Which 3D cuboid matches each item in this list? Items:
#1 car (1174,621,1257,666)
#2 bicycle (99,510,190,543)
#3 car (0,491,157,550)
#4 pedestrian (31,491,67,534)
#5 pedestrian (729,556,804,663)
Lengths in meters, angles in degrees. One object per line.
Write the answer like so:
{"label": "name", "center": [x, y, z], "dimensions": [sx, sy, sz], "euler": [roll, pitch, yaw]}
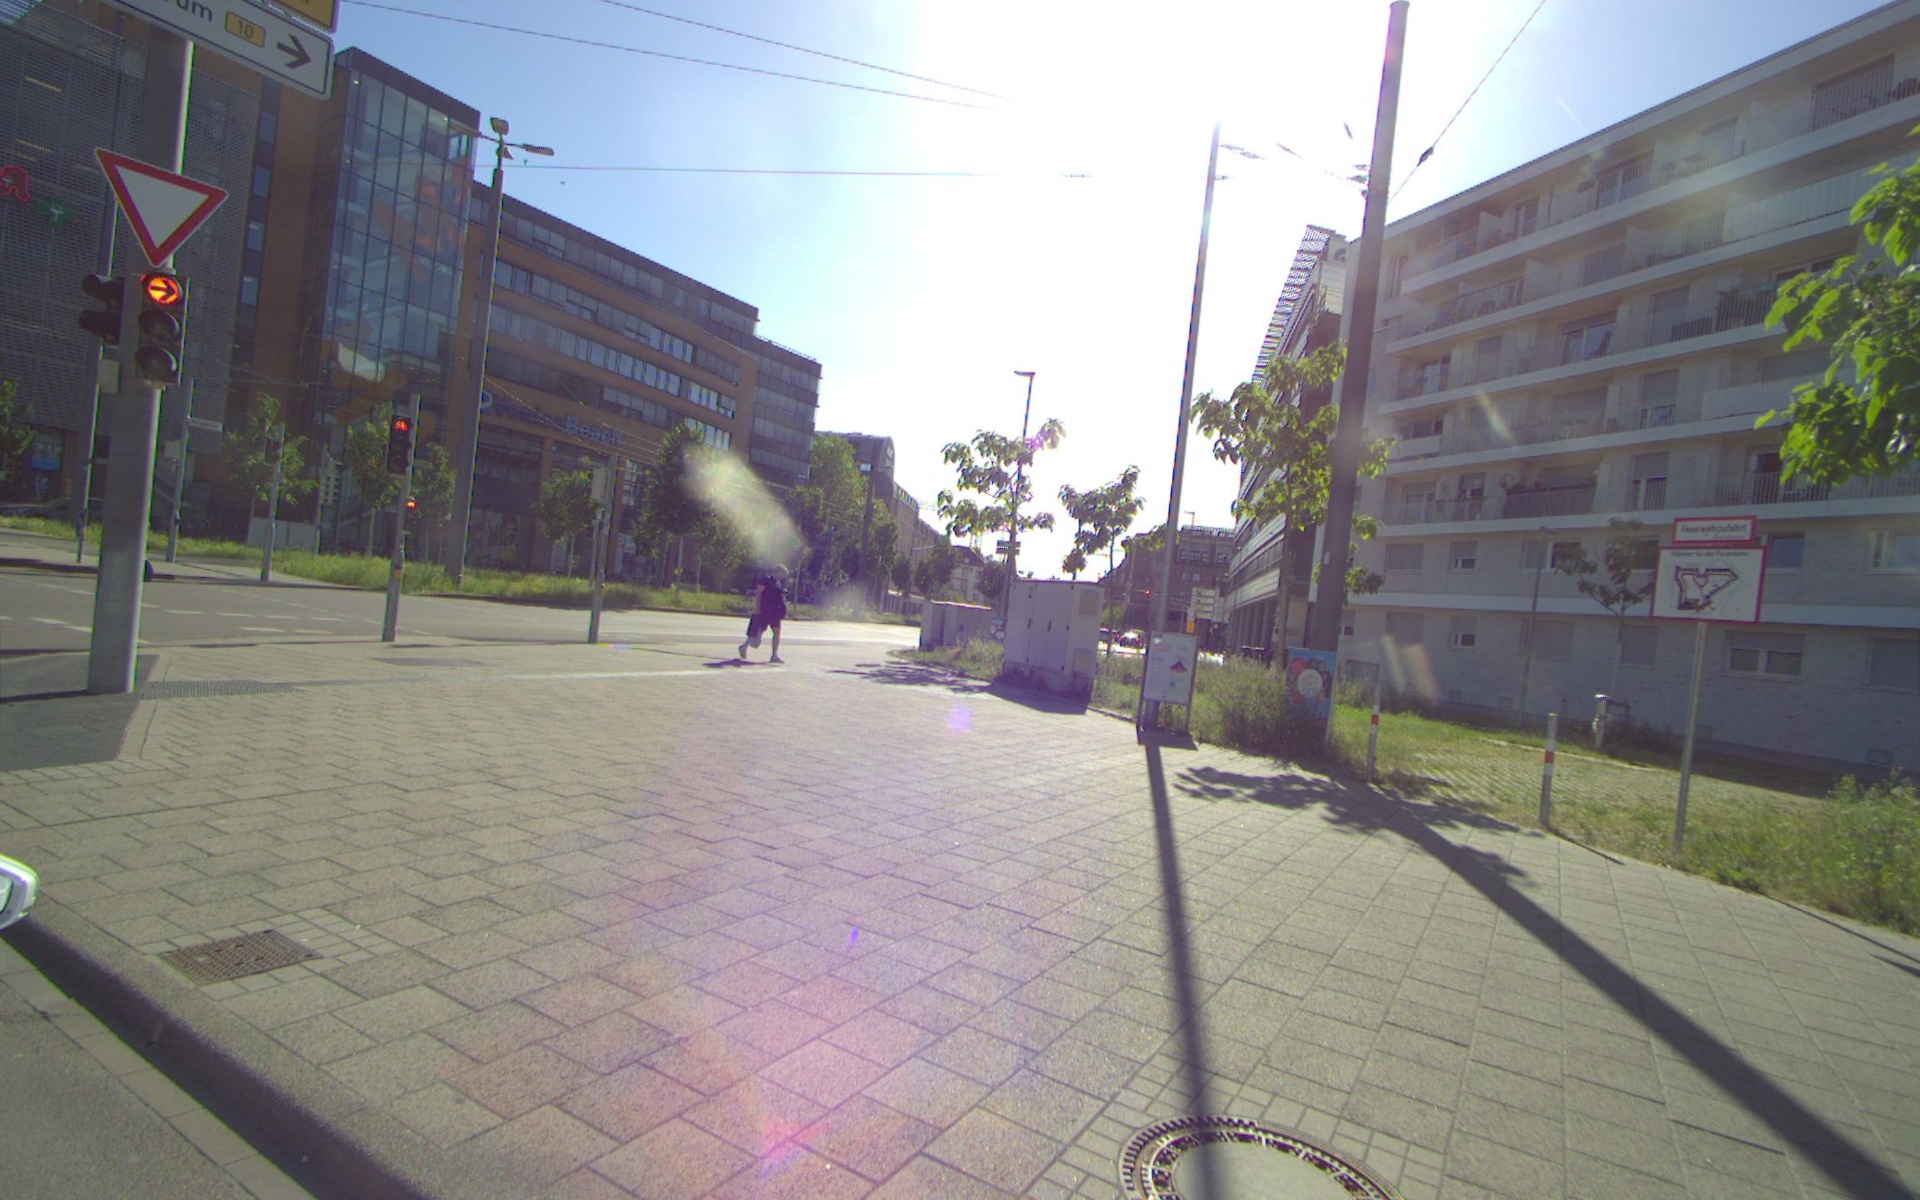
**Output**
{"label": "car", "center": [14.505, 2.461, 57.226], "dimensions": [3.929, 2.038, 1.999], "euler": [7, 0, -5]}
{"label": "bicycle", "center": [-41.148, -3.681, 50.817], "dimensions": [1.100, 1.090, 3.361], "euler": [7, -1, 38]}
{"label": "car", "center": [-32.130, -2.863, 36.392], "dimensions": [1.470, 1.513, 4.493], "euler": [7, -1, 32]}
{"label": "pedestrian", "center": [-40.828, -3.930, 45.110], "dimensions": [0.740, 1.759, 0.855], "euler": [7, 0, 25]}
{"label": "pedestrian", "center": [-3.363, 0.176, 17.492], "dimensions": [0.749, 1.729, 0.807], "euler": [7, 0, 31]}
